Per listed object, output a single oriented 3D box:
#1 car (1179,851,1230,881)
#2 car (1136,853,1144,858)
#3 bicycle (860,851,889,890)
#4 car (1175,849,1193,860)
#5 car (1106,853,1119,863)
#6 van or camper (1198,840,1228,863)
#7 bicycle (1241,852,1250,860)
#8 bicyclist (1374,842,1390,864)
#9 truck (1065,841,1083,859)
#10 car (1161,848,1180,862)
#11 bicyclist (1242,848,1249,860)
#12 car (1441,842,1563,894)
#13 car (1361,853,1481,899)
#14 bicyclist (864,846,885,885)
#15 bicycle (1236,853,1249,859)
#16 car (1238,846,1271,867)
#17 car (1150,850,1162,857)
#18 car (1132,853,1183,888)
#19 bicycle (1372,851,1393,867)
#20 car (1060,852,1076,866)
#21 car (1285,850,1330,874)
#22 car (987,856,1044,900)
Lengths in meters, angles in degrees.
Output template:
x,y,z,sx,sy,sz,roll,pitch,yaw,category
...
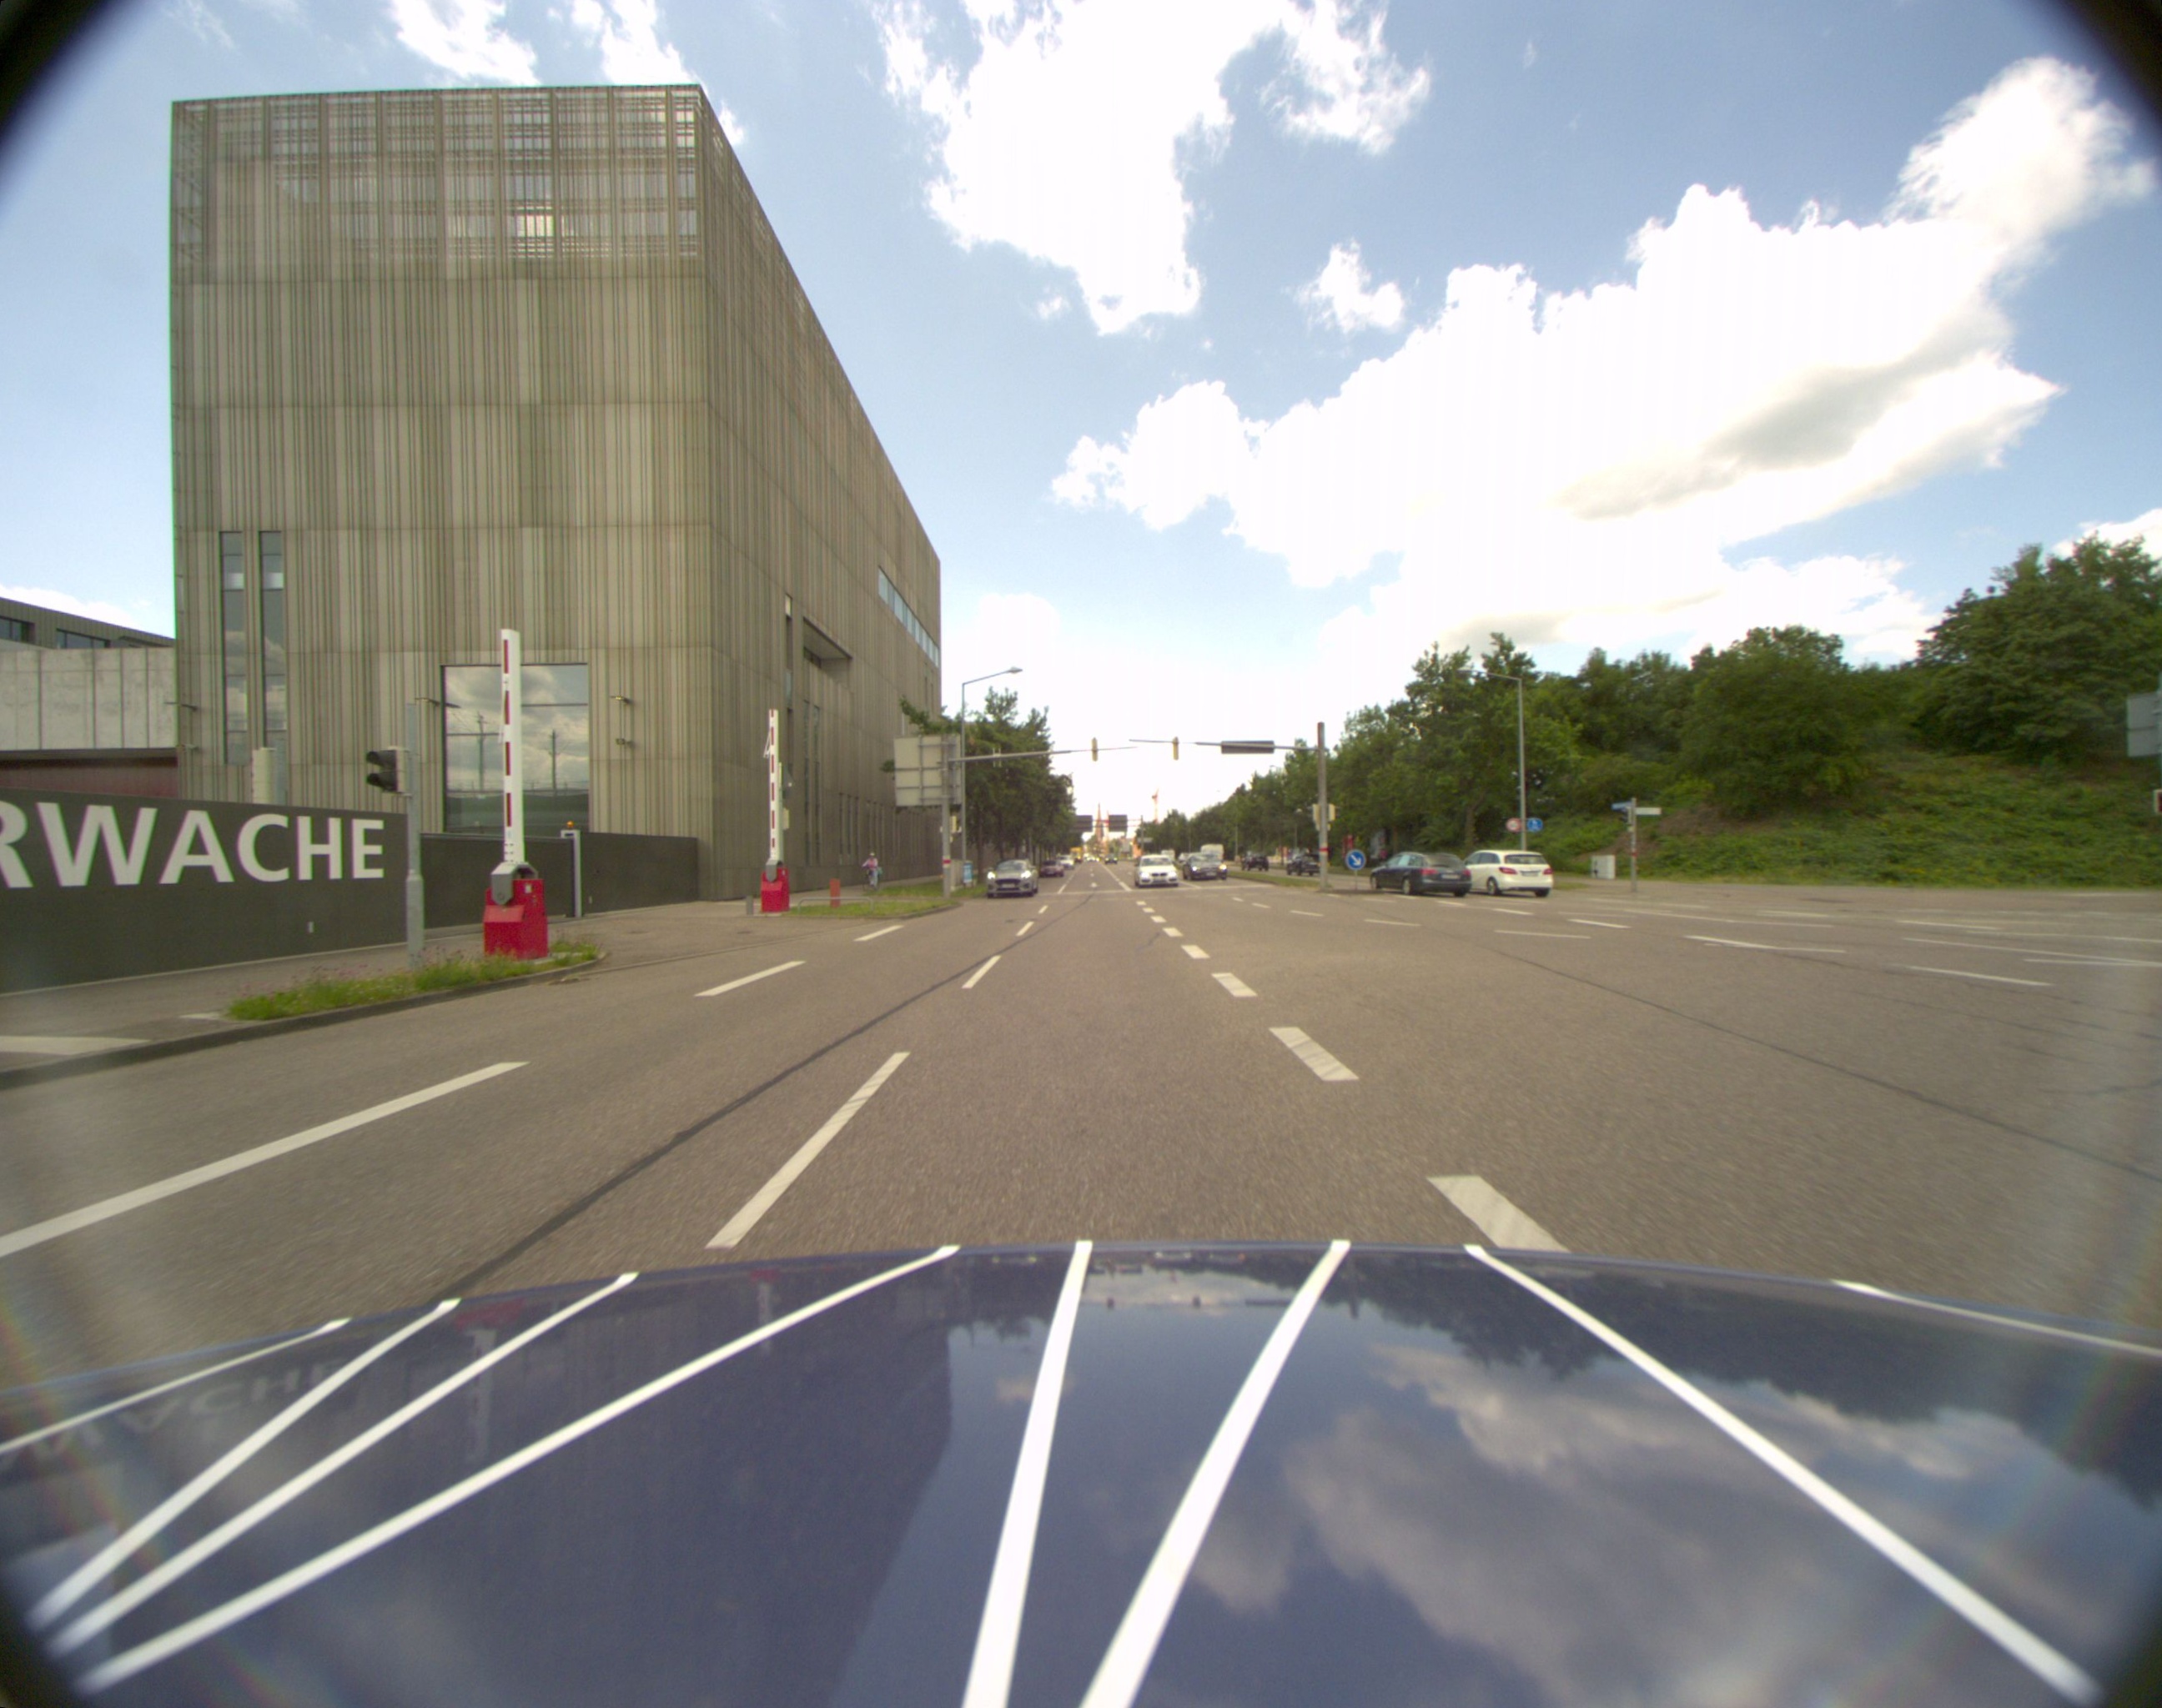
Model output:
x,y,z,sx,sy,sz,roll,pitch,yaw,category
6.520,0.605,40.700,1.998,1.407,4.832,-2,0,1,car
17.235,0.381,221.329,1.964,1.508,4.909,-1,0,1,car
-9.458,0.727,34.906,0.721,1.763,2.533,-1,0,-3,bicycle
16.883,0.064,124.515,1.999,1.791,4.407,0,0,-5,car
4.772,0.642,114.766,1.782,1.487,3.598,0,0,1,car
15.746,-0.304,91.203,2.358,2.525,7.063,-2,0,0,van or camper
23.664,0.289,109.315,0.752,1.155,2.257,0,0,-3,bicycle
24.690,-0.113,62.252,0.894,1.737,0.997,-2,1,2,bicyclist
-1.178,-0.719,139.965,3.066,3.095,7.935,0,0,1,truck
13.604,0.144,115.394,2.196,1.952,5.193,0,0,0,car
23.645,0.036,109.546,0.740,1.648,0.980,0,0,-4,bicyclist
14.381,0.427,26.269,1.810,1.622,4.392,-1,0,1,car
11.237,0.660,25.542,1.979,1.381,4.780,0,0,1,car
-9.457,0.528,34.876,0.717,1.758,0.988,-1,1,-3,bicyclist
28.012,0.304,131.825,0.665,1.009,2.143,-1,1,-44,bicycle
15.202,0.241,66.801,1.998,1.756,4.220,-1,0,0,car
15.288,-0.073,155.095,1.998,1.423,5.024,0,0,1,car
3.434,0.720,34.886,1.920,1.406,4.295,-3,0,1,car
24.737,0.401,62.433,0.824,1.263,2.393,-2,1,2,bicycle
-1.418,0.521,85.745,1.713,1.487,3.650,0,0,1,car
15.199,0.540,51.161,1.930,1.520,4.000,-1,1,2,car
-2.589,0.924,30.735,1.823,1.565,3.954,-3,0,1,car
